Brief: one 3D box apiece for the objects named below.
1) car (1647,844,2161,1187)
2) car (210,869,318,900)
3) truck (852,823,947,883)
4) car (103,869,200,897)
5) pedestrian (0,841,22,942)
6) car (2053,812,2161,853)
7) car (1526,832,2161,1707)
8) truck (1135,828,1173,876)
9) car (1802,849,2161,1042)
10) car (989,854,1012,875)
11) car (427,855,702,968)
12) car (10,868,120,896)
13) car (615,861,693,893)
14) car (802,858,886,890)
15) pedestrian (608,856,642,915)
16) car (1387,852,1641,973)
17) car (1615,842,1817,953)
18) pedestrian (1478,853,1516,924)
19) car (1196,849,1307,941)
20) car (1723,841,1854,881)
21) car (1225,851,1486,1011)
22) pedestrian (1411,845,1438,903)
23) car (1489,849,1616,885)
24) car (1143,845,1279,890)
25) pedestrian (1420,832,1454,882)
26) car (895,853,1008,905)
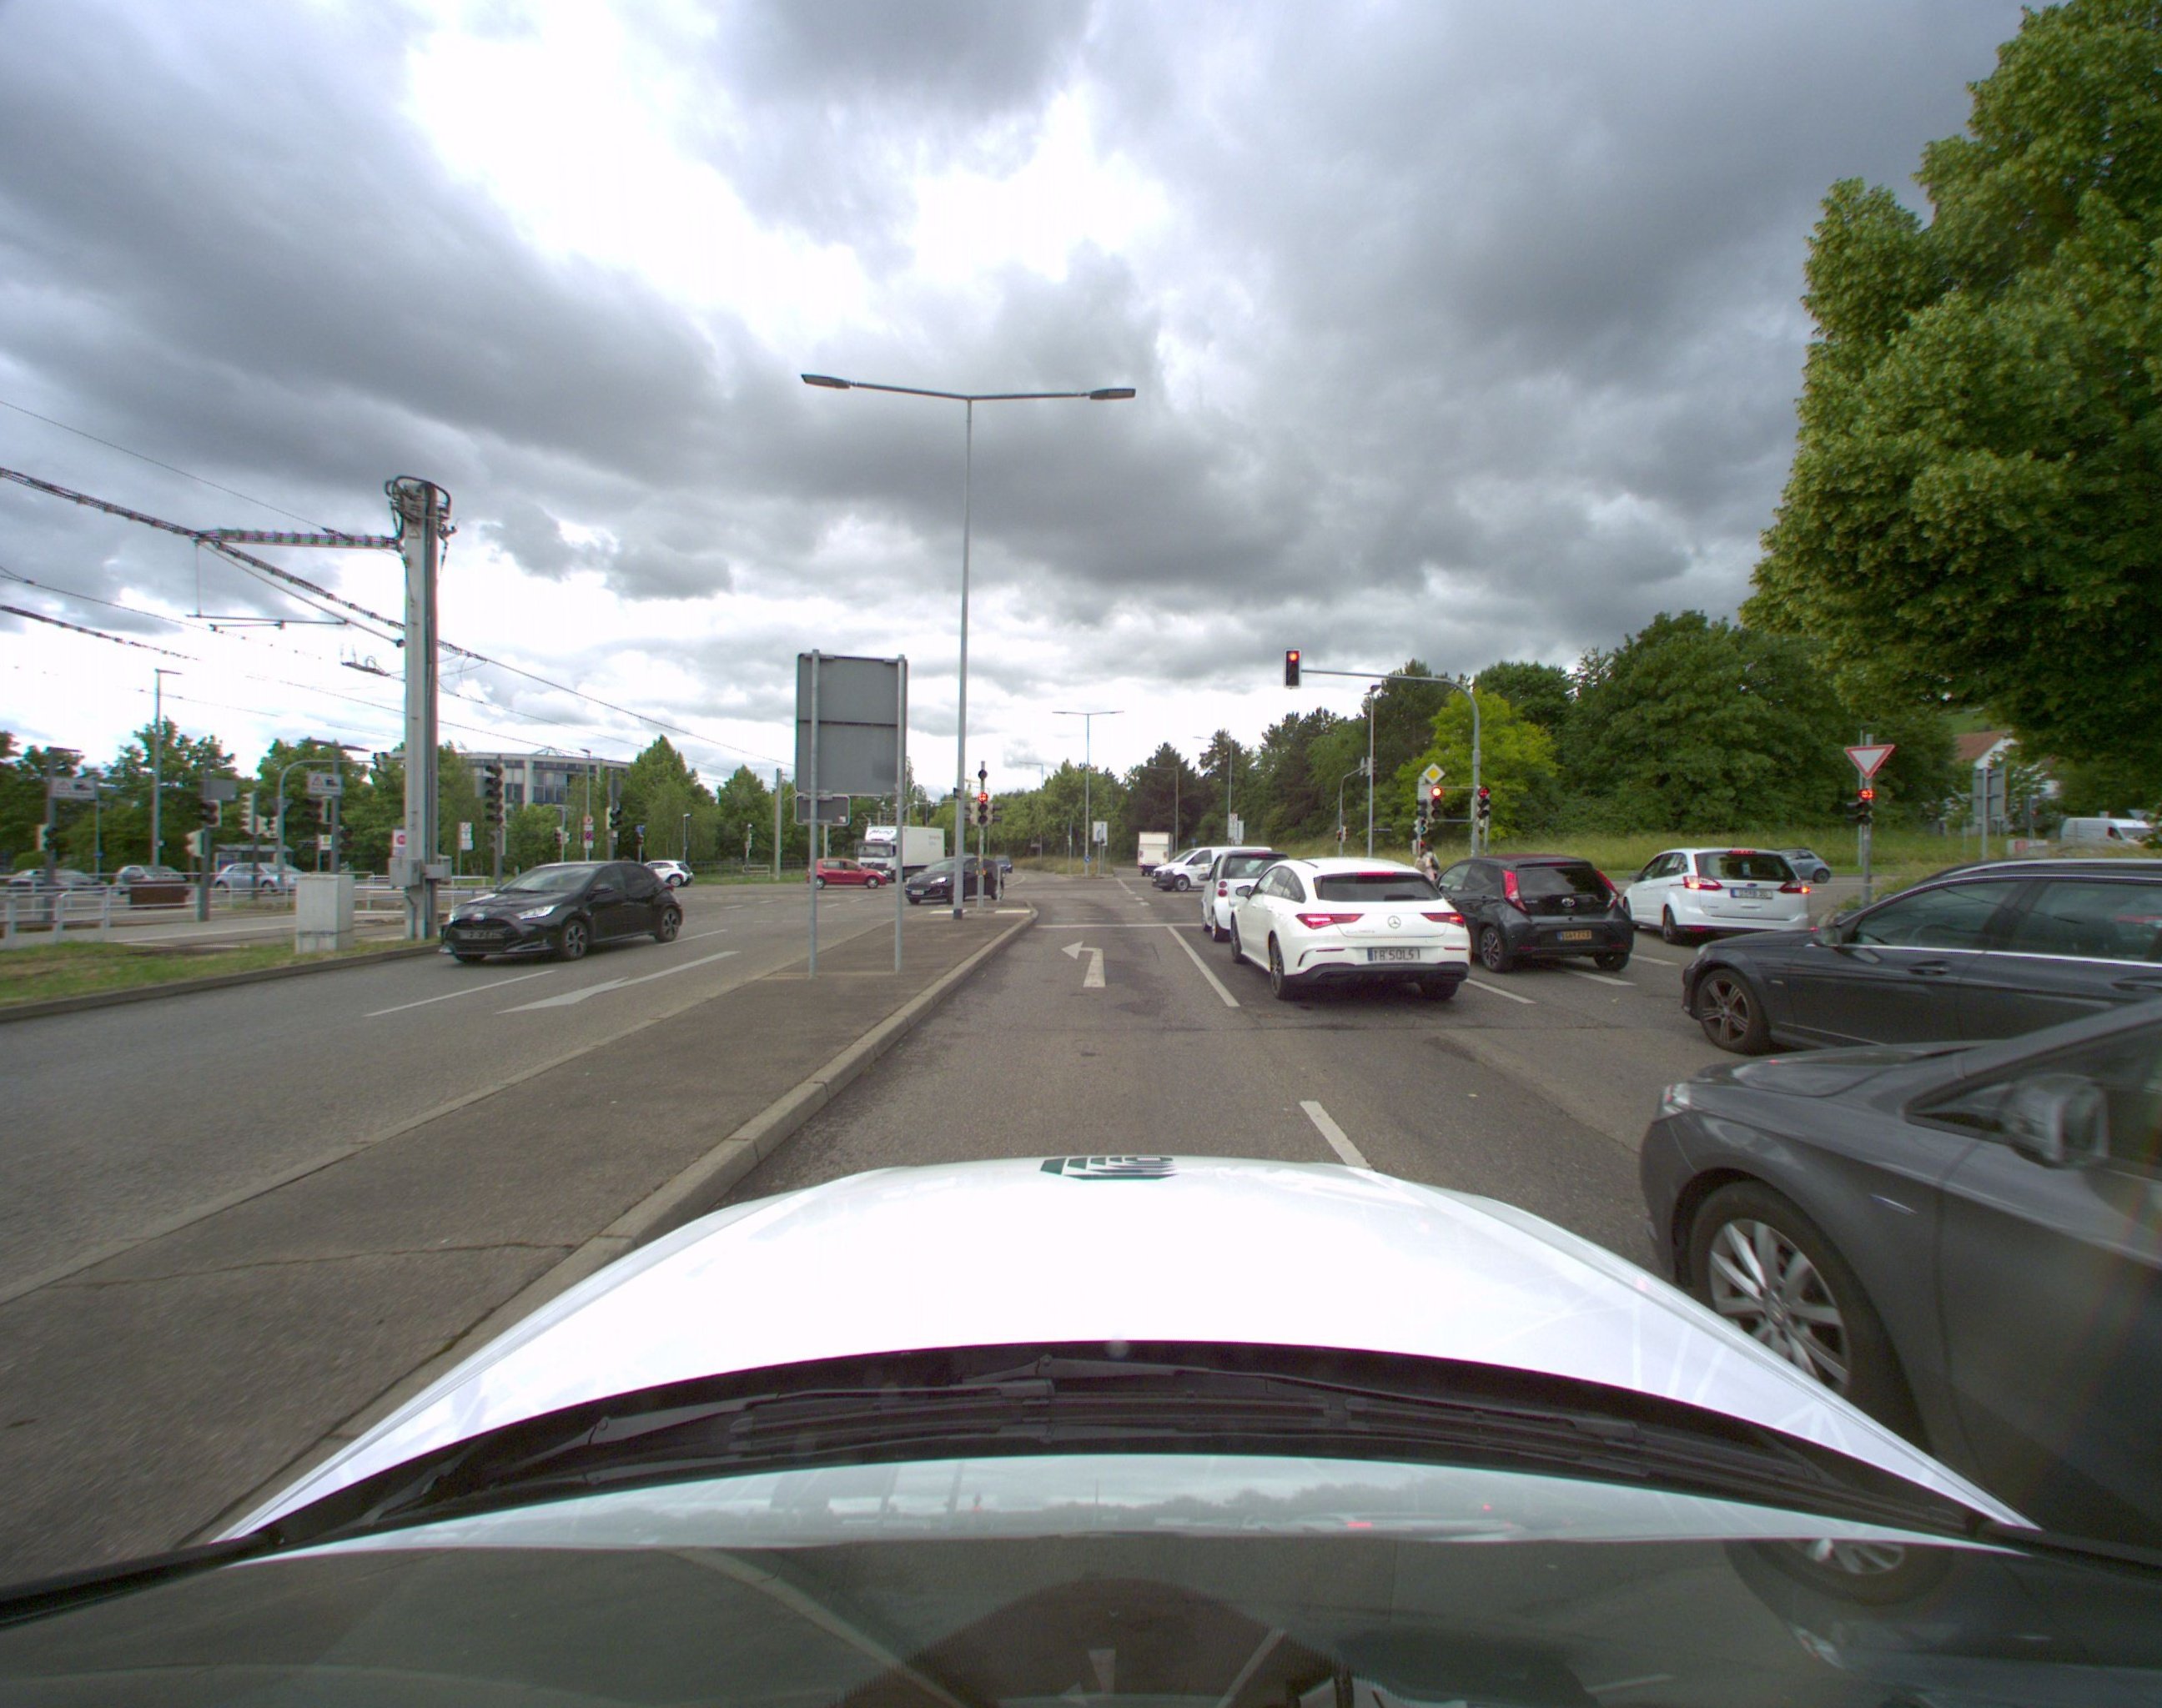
[{"bbox_3d":[5.581,0.677,4.730,1.818,1.435,4.216,-1,0,3],"label":"car"},{"bbox_3d":[-38.284,1.421,38.183,3.963,1.377,1.522,0,0,9],"label":"car"},{"bbox_3d":[-11.907,-0.074,54.631,2.643,3.649,9.530,0,0,11],"label":"truck"},{"bbox_3d":[-44.803,1.390,39.285,3.264,1.310,1.556,-1,0,8],"label":"car"},{"bbox_3d":[-19.714,0.678,14.535,0.570,1.827,0.793,0,0,-2],"label":"pedestrian"},{"bbox_3d":[68.182,-1.464,53.878,2.161,2.539,5.802,0,3,18],"label":"car"},{"bbox_3d":[2.520,0.720,1.067,1.791,1.523,4.192,-1,0,4],"label":"car"},{"bbox_3d":[5.865,-0.199,64.608,2.668,3.598,7.280,-1,1,8],"label":"truck"},{"bbox_3d":[9.084,0.694,7.751,1.506,1.437,3.648,1,1,7],"label":"car"},{"bbox_3d":[-7.262,0.944,74.148,1.912,1.575,3.996,-1,3,-4],"label":"car"},{"bbox_3d":[-8.101,0.809,13.266,1.585,1.496,3.948,-1,0,7],"label":"car"},{"bbox_3d":[-50.009,1.385,40.098,3.715,1.310,1.727,0,0,8],"label":"car"},{"bbox_3d":[-24.085,1.257,46.094,3.751,1.507,1.768,-2,3,-24],"label":"car"},{"bbox_3d":[-11.936,0.997,41.230,3.994,1.517,1.723,-1,-2,-16],"label":"car"},{"bbox_3d":[-12.509,0.847,22.335,0.349,1.556,0.657,1,3,36],"label":"pedestrian"},{"bbox_3d":[5.831,0.685,11.560,1.540,1.404,4.001,-1,0,1],"label":"car"},{"bbox_3d":[10.983,0.627,14.456,1.687,1.637,4.266,1,1,22],"label":"car"},{"bbox_3d":[8.528,0.700,16.691,0.607,1.453,0.355,0,0,10],"label":"pedestrian"},{"bbox_3d":[3.004,0.678,14.788,1.529,1.504,2.671,-1,0,2],"label":"car"},{"bbox_3d":[30.428,0.283,35.127,3.969,1.601,1.840,-1,0,4],"label":"car"},{"bbox_3d":[2.850,0.686,9.508,1.715,1.421,4.359,-1,0,2],"label":"car"},{"bbox_3d":[9.796,0.564,23.238,0.607,1.634,0.616,1,0,10],"label":"pedestrian"},{"bbox_3d":[20.797,0.550,36.059,4.471,1.461,2.002,-1,0,4],"label":"car"},{"bbox_3d":[5.587,0.570,35.100,5.427,1.815,1.990,0,-2,-15],"label":"car"},{"bbox_3d":[11.367,0.087,26.030,0.861,1.560,0.518,-1,1,0],"label":"pedestrian"},{"bbox_3d":[-4.090,0.753,26.301,1.619,1.480,3.800,-1,0,28],"label":"car"}]
